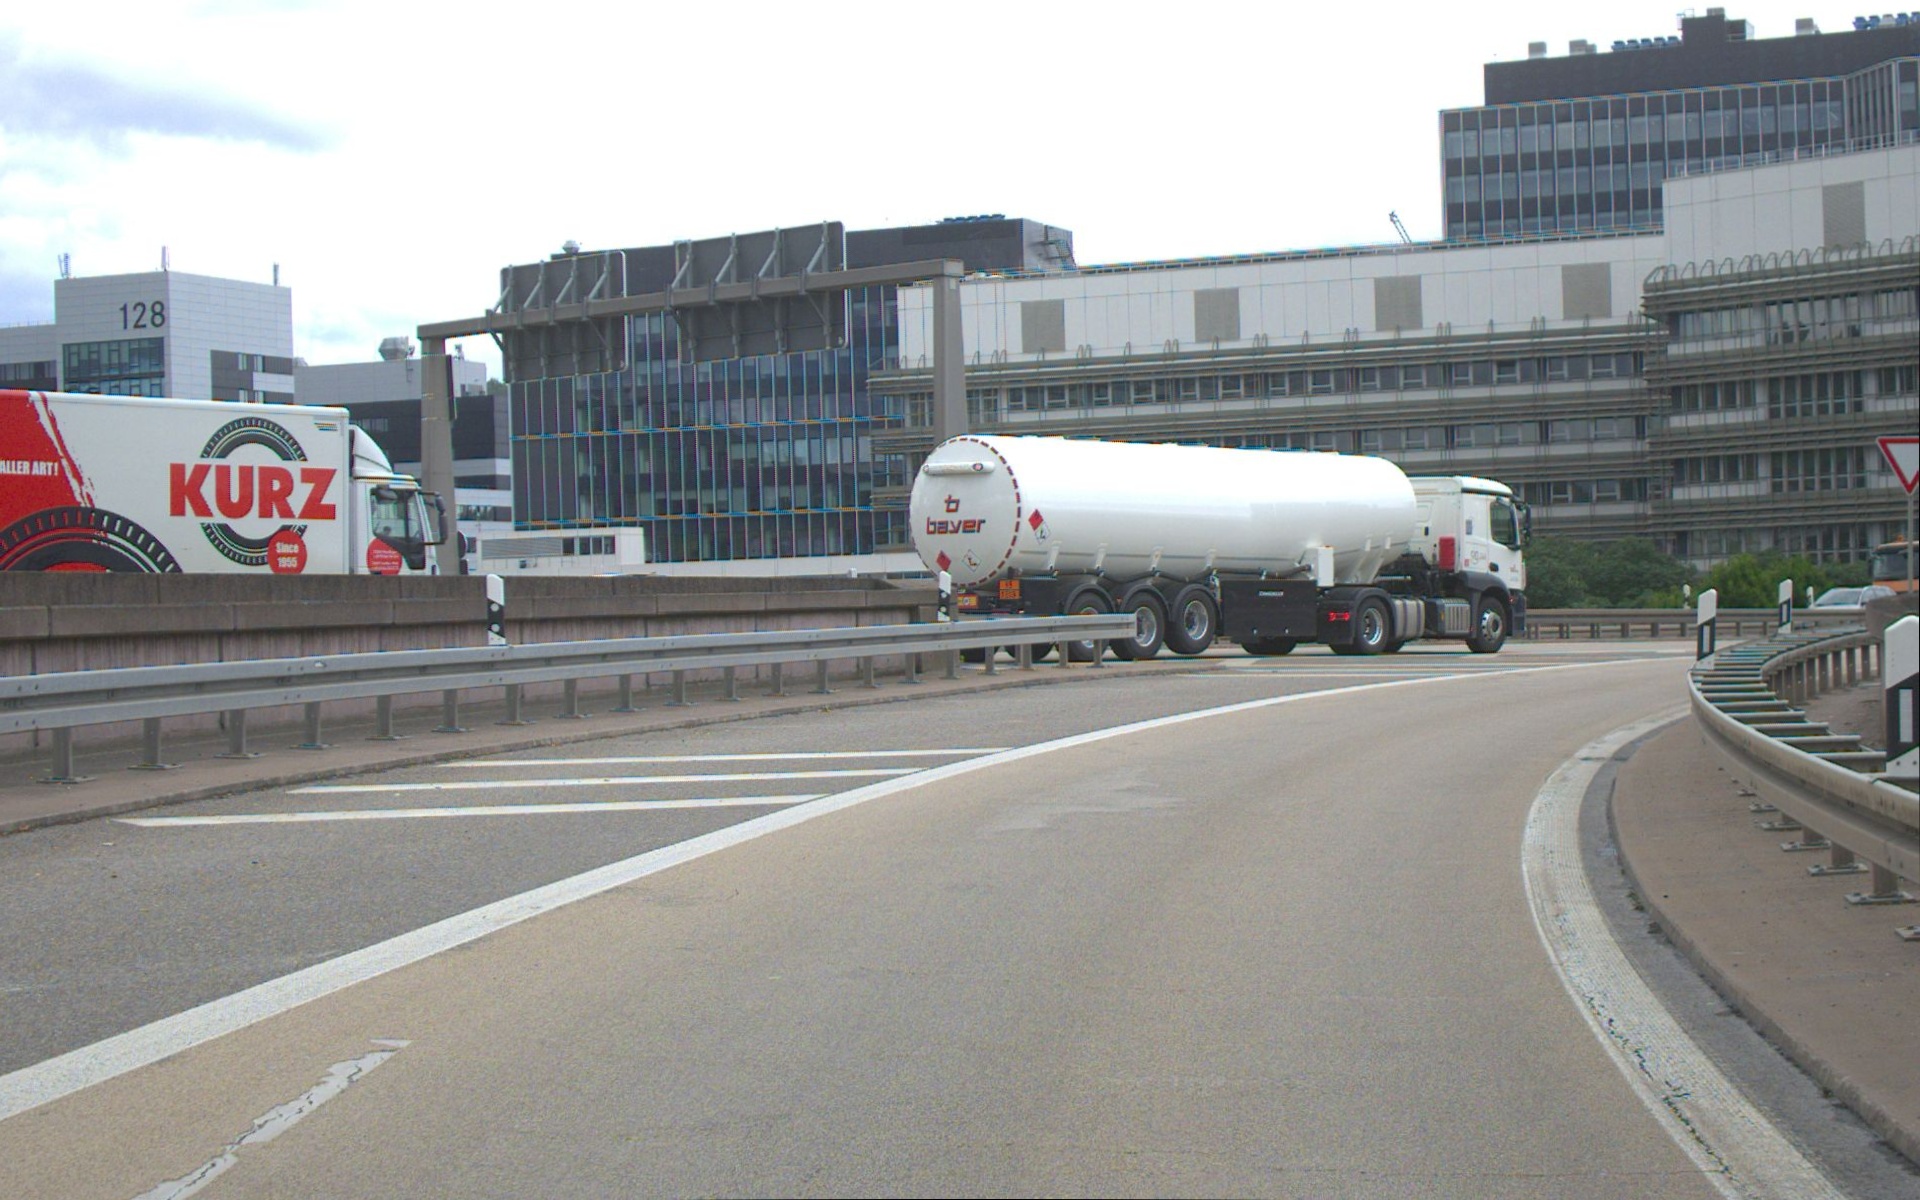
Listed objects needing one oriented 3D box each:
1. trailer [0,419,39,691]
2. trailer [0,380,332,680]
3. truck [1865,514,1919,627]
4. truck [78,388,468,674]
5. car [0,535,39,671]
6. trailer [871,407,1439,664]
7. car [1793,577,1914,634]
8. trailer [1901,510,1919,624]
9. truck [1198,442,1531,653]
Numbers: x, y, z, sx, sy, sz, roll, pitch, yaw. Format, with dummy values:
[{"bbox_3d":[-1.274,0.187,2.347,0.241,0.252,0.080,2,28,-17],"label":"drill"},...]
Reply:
[{"bbox_3d":[-20.179,-0.622,51.645,3.169,4.332,12.487,-2,0,42],"label":"trailer"},{"bbox_3d":[-11.834,-0.850,44.102,2.697,3.678,7.296,-2,0,41],"label":"trailer"},{"bbox_3d":[31.081,-0.937,108.733,2.748,3.468,5.094,-2,0,40],"label":"truck"},{"bbox_3d":[-9.351,-0.901,46.997,2.697,3.678,4.428,-2,0,41],"label":"truck"},{"bbox_3d":[-12.364,0.013,37.302,1.851,1.499,4.255,2,1,41],"label":"car"},{"bbox_3d":[3.397,-0.986,55.084,2.798,3.725,11.128,-2,0,41],"label":"trailer"},{"bbox_3d":[24.835,0.148,95.477,1.648,1.513,3.830,-2,0,42],"label":"car"},{"bbox_3d":[34.118,-1.112,112.342,2.740,3.624,9.334,-2,0,40],"label":"trailer"},{"bbox_3d":[7.046,-0.880,59.316,2.775,3.419,5.951,-2,0,41],"label":"truck"}]
